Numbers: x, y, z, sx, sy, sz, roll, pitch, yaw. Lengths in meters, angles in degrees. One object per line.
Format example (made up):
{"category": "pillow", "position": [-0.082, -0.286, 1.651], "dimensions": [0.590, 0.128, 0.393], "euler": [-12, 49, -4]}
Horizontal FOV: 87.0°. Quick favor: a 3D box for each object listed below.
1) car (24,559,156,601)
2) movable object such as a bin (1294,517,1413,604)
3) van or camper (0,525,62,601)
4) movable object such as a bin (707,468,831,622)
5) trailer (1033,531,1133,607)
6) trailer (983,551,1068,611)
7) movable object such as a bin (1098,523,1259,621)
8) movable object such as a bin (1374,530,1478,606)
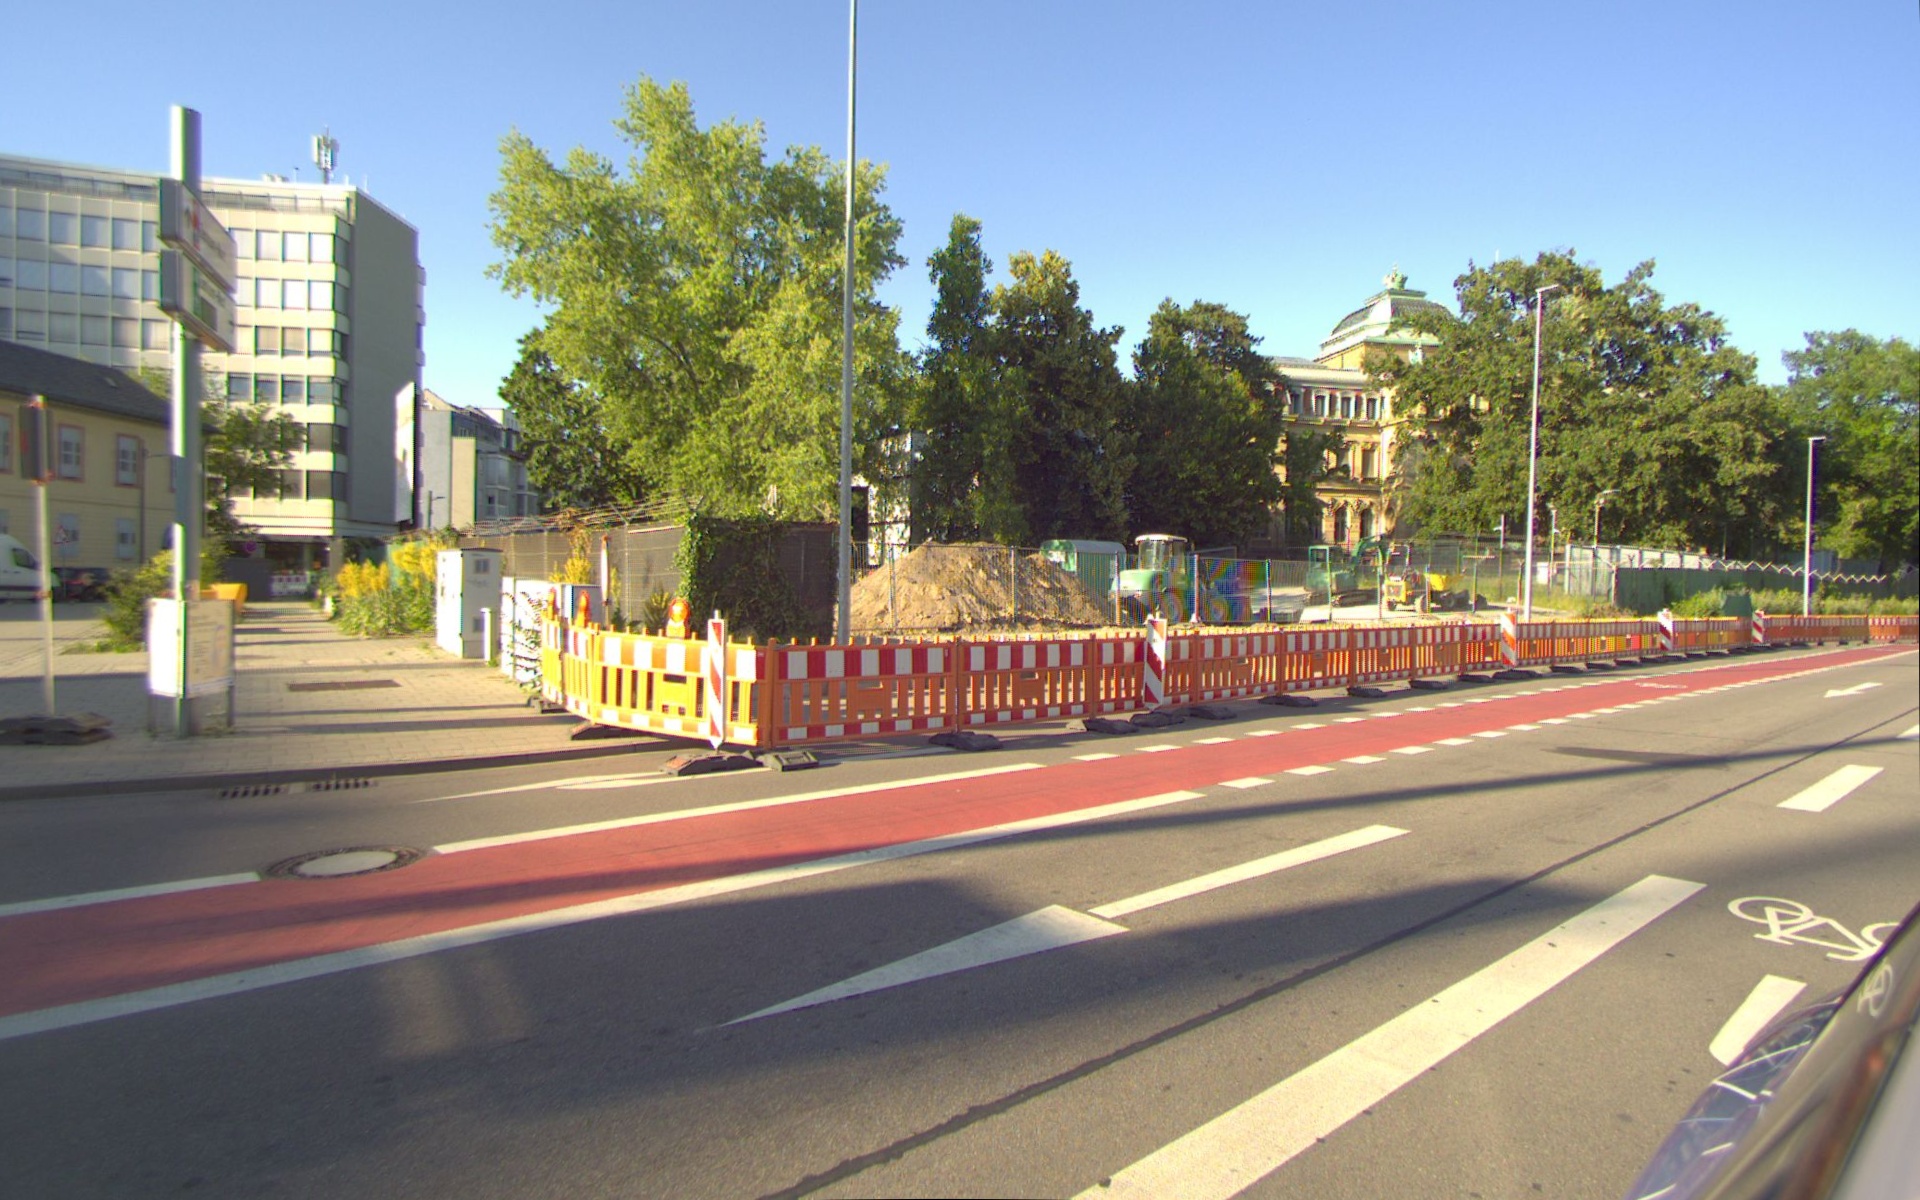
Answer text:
{"category": "car", "position": [-35.292, -0.828, 41.222], "dimensions": [1.962, 1.593, 4.001], "euler": [1, 1, 0]}
{"category": "movable object such as a bin", "position": [17.476, -1.683, 44.863], "dimensions": [5.395, 3.602, 2.283], "euler": [0, 1, -36]}
{"category": "van or camper", "position": [-34.889, -1.314, 35.417], "dimensions": [1.962, 2.668, 5.607], "euler": [1, 1, 0]}
{"category": "movable object such as a bin", "position": [-5.282, -1.365, 27.101], "dimensions": [2.801, 3.602, 6.095], "euler": [1, 1, -15]}
{"category": "trailer", "position": [5.672, -1.494, 46.427], "dimensions": [3.923, 3.126, 2.612], "euler": [-7, 7, -43]}
{"category": "trailer", "position": [2.848, -0.867, 44.110], "dimensions": [2.189, 2.349, 2.950], "euler": [-7, 7, -43]}
{"category": "movable object such as a bin", "position": [6.663, -0.810, 30.583], "dimensions": [4.855, 2.737, 2.280], "euler": [0, 1, -41]}
{"category": "movable object such as a bin", "position": [18.968, -1.255, 41.173], "dimensions": [3.922, 2.940, 2.001], "euler": [0, 1, -33]}
